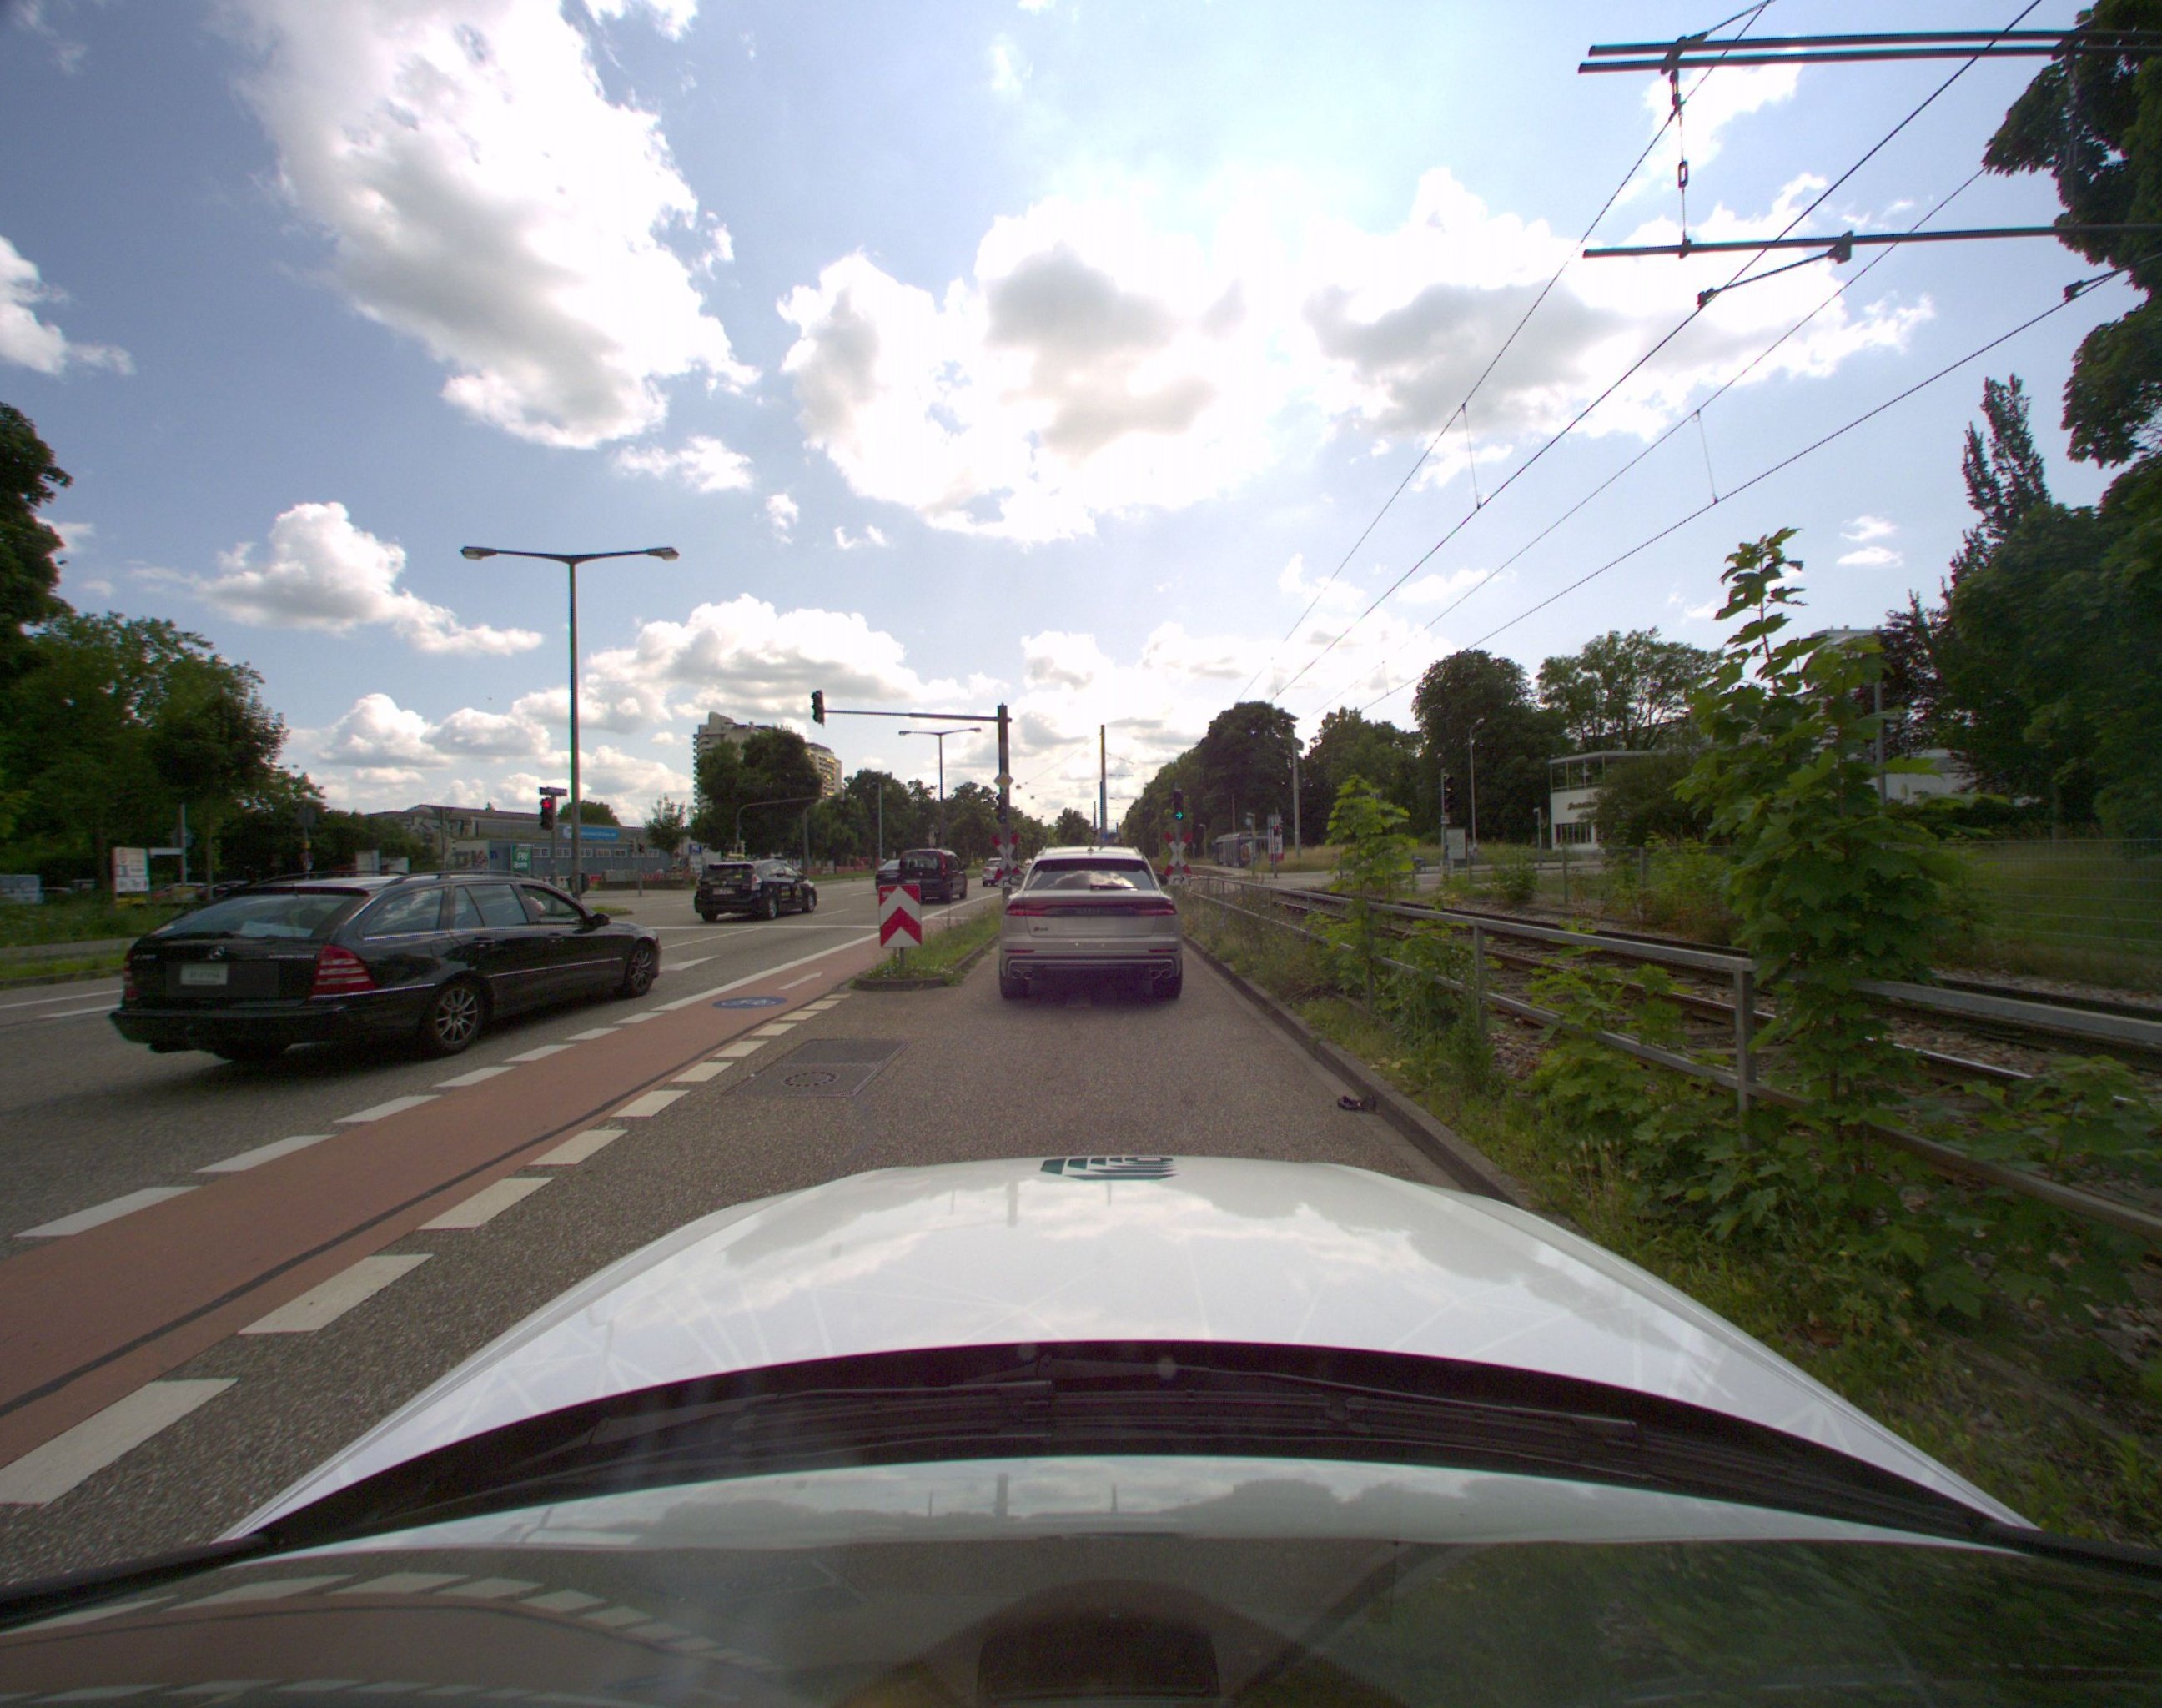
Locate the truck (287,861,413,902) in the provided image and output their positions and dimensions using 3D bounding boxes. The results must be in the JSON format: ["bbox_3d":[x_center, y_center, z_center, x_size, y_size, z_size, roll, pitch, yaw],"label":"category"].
[{"bbox_3d":[-47.487,1.761,52.957,6.906,2.439,3.054,-2,0,19],"label":"truck"}]

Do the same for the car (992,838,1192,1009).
[{"bbox_3d":[0.184,0.710,10.366,1.974,1.684,4.576,0,-1,2],"label":"car"}]

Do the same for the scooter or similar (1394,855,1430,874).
[{"bbox_3d":[17.907,0.569,44.126,1.568,0.979,0.963,-2,-1,3],"label":"scooter or similar"}]

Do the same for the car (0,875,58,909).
[{"bbox_3d":[-58.426,2.044,44.518,3.578,1.793,1.946,-1,-1,18],"label":"car"}]

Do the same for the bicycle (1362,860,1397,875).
[{"bbox_3d":[16.232,0.736,44.264,1.714,0.765,0.556,-1,-1,3],"label":"bicycle"}]

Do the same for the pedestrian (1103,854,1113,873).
[{"bbox_3d":[2.176,0.741,64.767,0.653,1.513,0.716,-2,0,-8],"label":"pedestrian"}]

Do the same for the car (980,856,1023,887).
[{"bbox_3d":[-4.120,0.908,42.740,1.779,1.525,4.301,0,-1,1],"label":"car"}]

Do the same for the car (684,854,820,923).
[{"bbox_3d":[-8.630,0.854,21.811,1.779,1.668,4.341,0,-1,2],"label":"car"}]

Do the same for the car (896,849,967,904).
[{"bbox_3d":[-5.117,0.757,28.340,1.754,1.777,3.908,0,-1,0],"label":"car"}]

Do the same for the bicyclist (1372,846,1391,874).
[{"bbox_3d":[16.345,0.314,44.272,0.835,1.475,0.456,-2,-1,3],"label":"bicyclist"}]

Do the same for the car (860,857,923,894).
[{"bbox_3d":[-8.214,0.909,35.626,1.859,1.504,3.998,0,-1,-1],"label":"car"}]

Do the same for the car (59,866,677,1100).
[{"bbox_3d":[-5.695,0.865,7.480,1.749,1.466,4.432,0,-1,0],"label":"car"}]
